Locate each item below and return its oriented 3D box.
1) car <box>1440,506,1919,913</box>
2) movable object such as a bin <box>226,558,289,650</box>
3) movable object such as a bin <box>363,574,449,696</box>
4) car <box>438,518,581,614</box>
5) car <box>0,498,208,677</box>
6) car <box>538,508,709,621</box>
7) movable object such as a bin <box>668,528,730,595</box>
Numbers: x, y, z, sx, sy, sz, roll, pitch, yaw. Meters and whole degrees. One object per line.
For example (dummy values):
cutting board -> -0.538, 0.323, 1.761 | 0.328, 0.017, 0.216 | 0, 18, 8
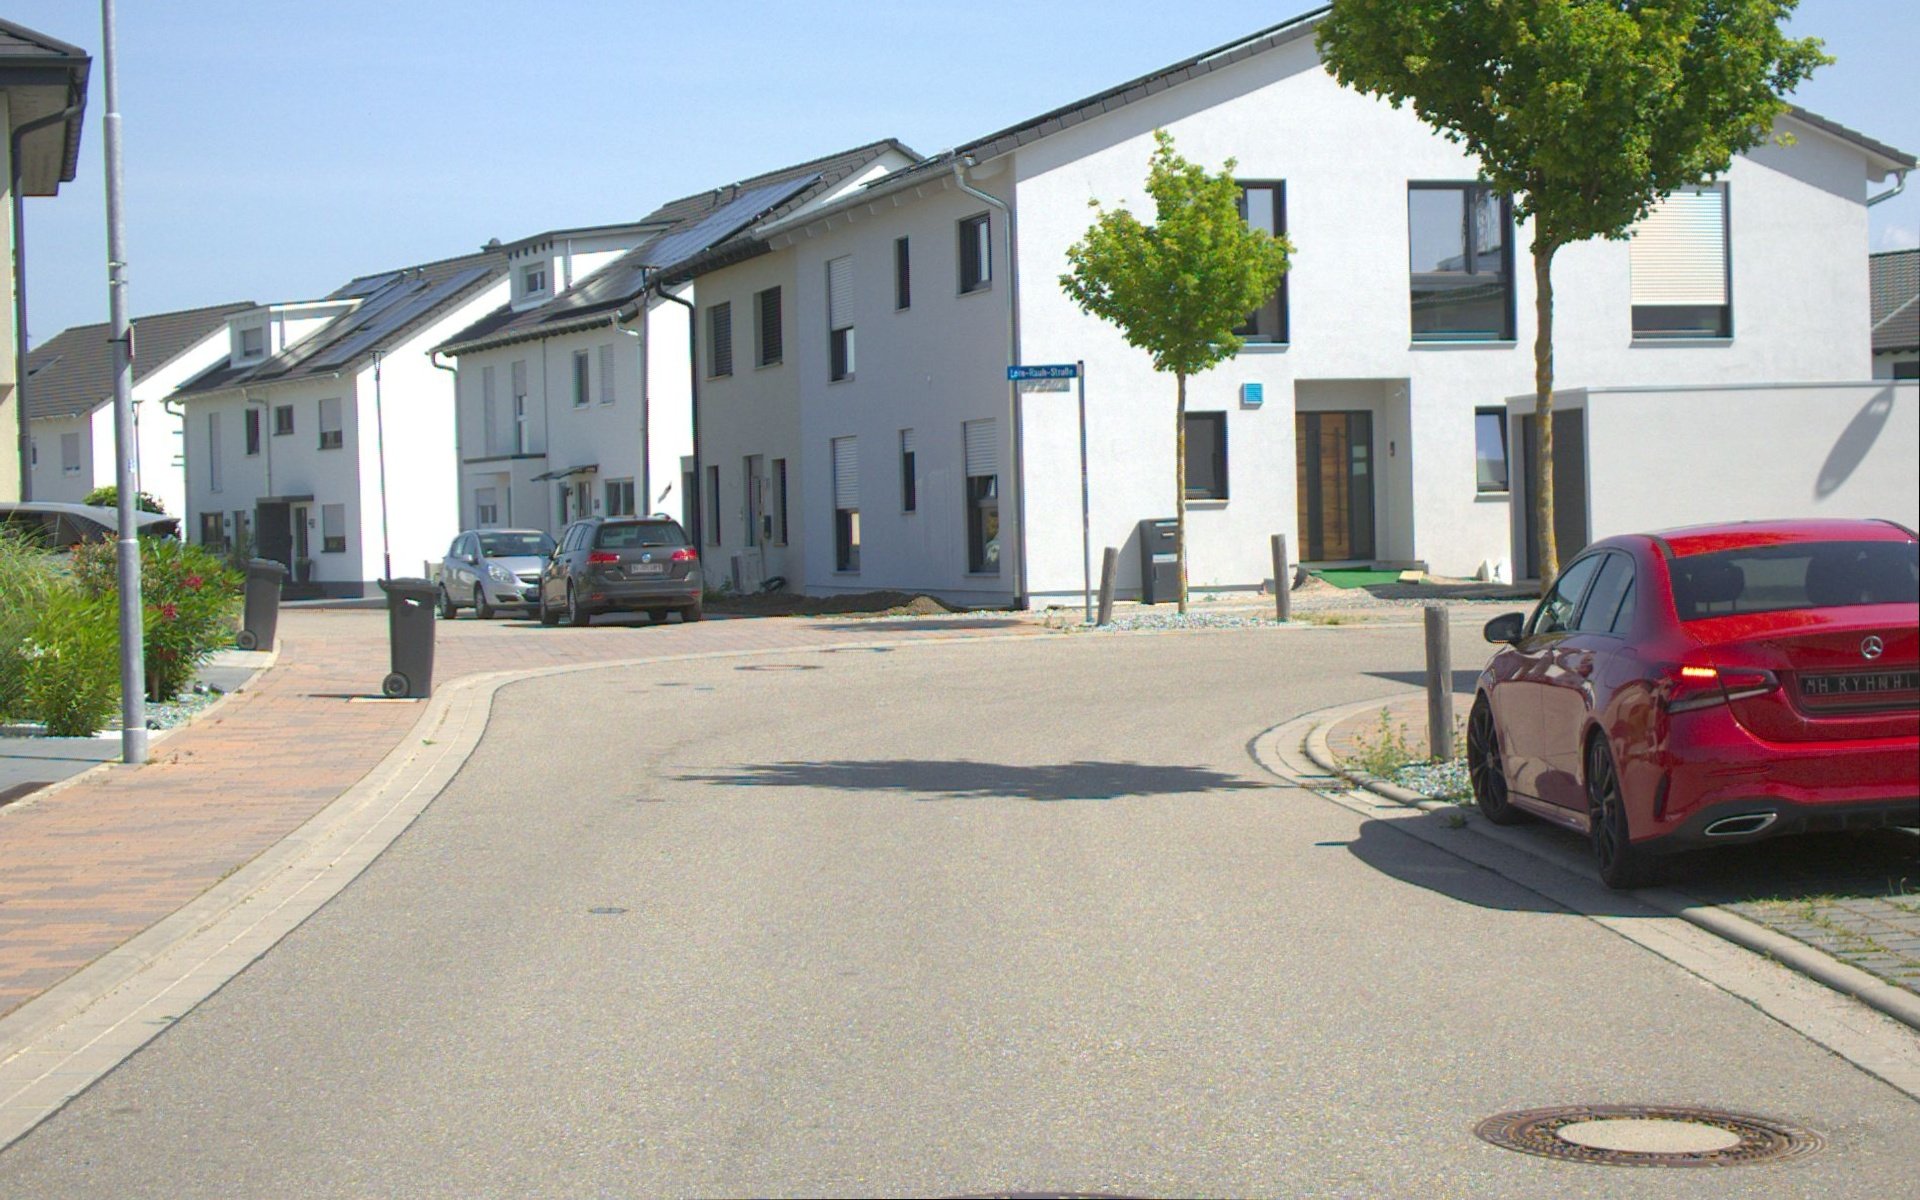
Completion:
car -> 3.321, 0.347, 14.946 | 1.762, 1.433, 4.520 | -3, 1, 0
movable object such as a bin -> -7.227, 0.042, 35.366 | 0.614, 0.924, 0.423 | 1, 0, -12
movable object such as a bin -> -4.332, 0.267, 26.904 | 0.535, 0.932, 0.526 | 1, 1, 7
car -> -7.397, -0.563, 56.176 | 1.676, 1.459, 3.946 | -2, 1, -16
car -> -8.707, -0.105, 29.748 | 3.987, 1.481, 1.754 | -1, 1, 0
car -> -4.618, -0.497, 46.743 | 1.726, 1.418, 4.001 | -2, 1, -14
movable object such as a bin -> -4.317, -0.637, 56.730 | 0.784, 1.046, 0.804 | -4, 2, -18
